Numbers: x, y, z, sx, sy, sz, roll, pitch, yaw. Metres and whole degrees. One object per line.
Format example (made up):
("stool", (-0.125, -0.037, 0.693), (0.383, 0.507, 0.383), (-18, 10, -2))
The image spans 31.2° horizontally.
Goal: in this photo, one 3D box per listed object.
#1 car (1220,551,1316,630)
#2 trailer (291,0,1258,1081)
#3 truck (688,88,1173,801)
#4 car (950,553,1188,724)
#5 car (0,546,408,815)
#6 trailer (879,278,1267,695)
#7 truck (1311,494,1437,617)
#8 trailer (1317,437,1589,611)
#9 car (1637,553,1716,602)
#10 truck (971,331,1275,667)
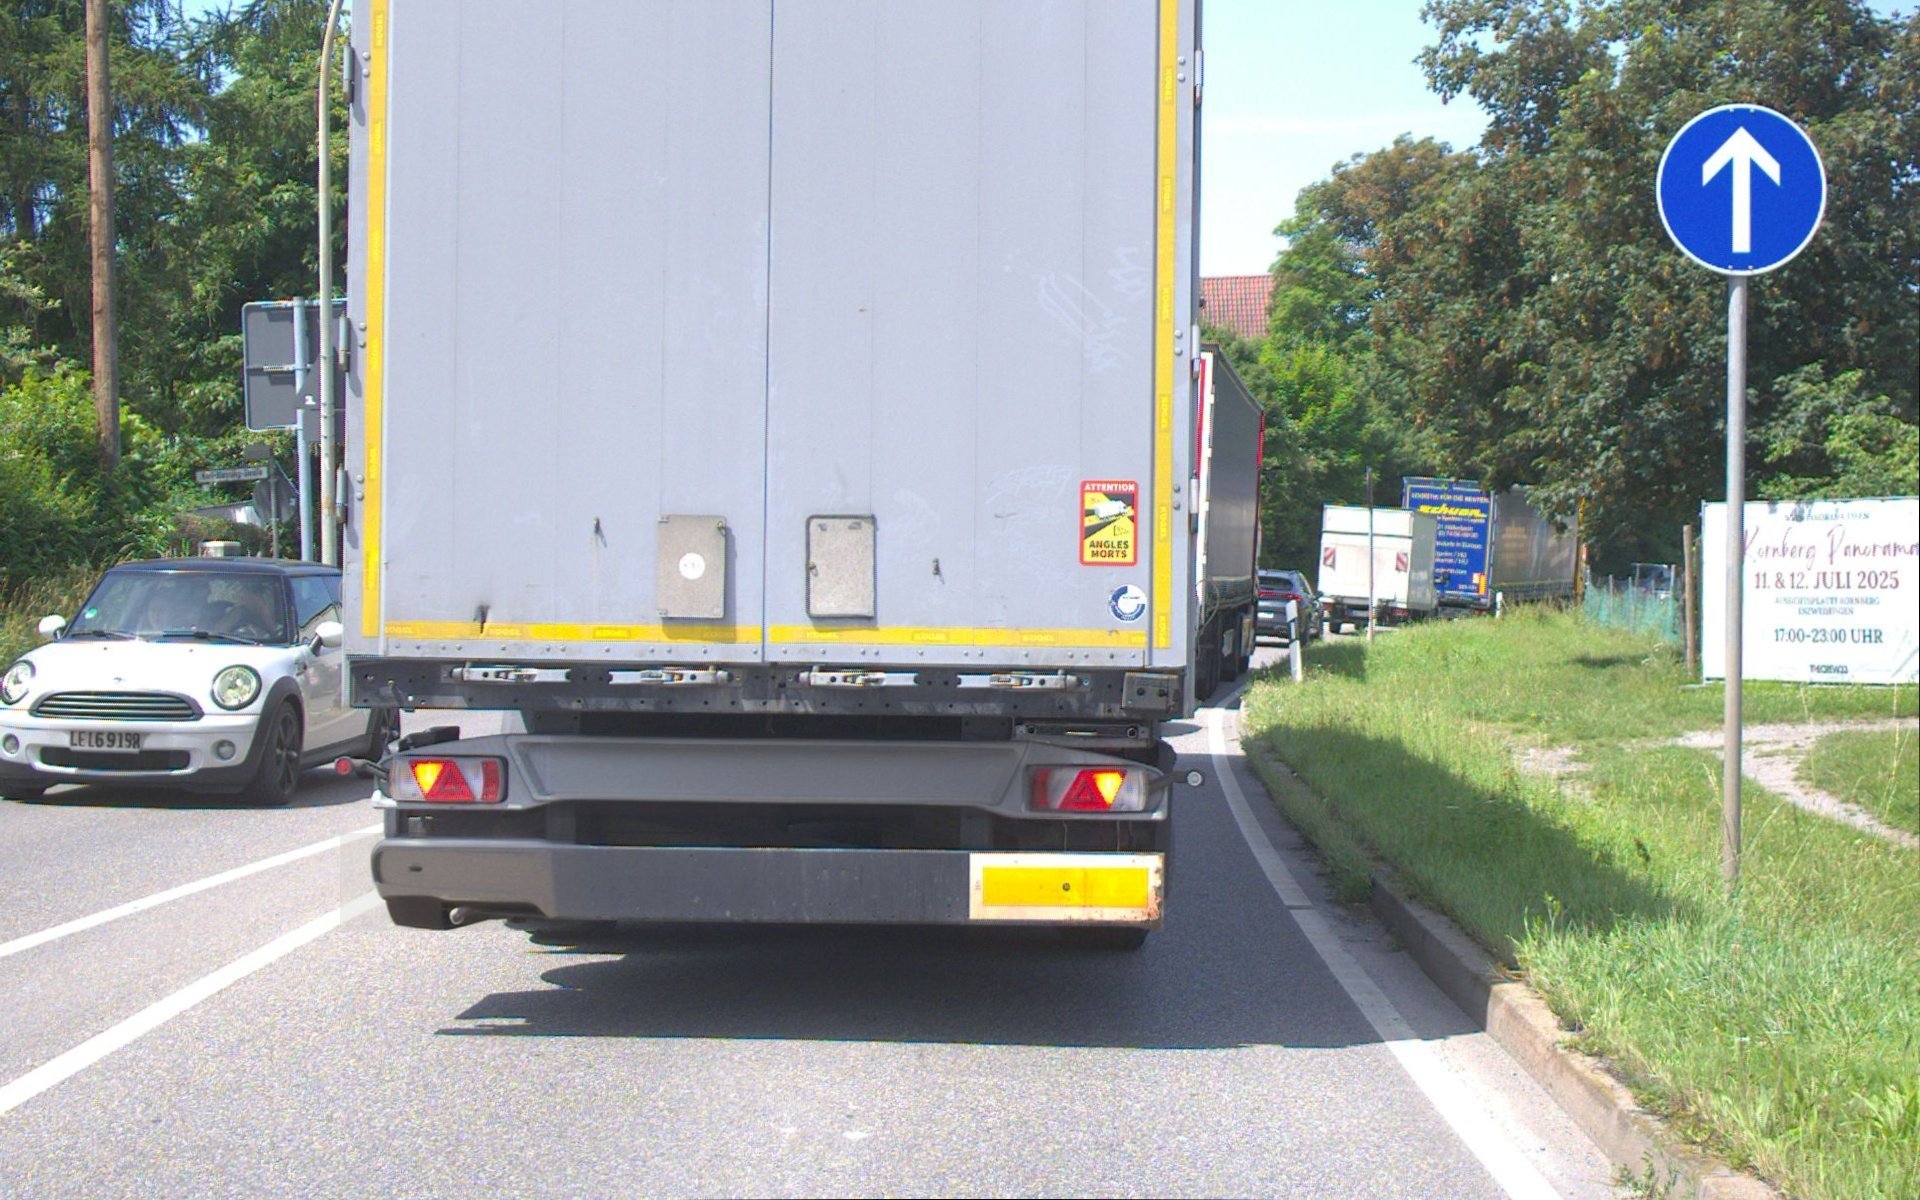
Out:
("car", (6.198, -0.211, 68.969), (1.841, 1.481, 3.999), (1, 1, 6))
("trailer", (-0.345, -0.868, 16.010), (2.787, 4.191, 12.111), (1, 1, 2))
("truck", (0.005, -0.994, 23.214), (2.746, 4.151, 6.142), (1, 1, 4))
("car", (1.134, 0.331, 33.810), (1.994, 1.525, 3.999), (1, 1, 7))
("car", (-4.543, 0.413, 20.681), (1.622, 1.377, 3.560), (2, 1, 3))
("trailer", (1.773, -1.323, 43.676), (3.892, 4.505, 12.710), (0, 1, 7))
("truck", (10.000, -1.099, 82.633), (2.422, 2.828, 5.409), (1, 1, 13))
("trailer", (14.535, -2.218, 99.500), (5.184, 4.612, 15.882), (1, 1, 18))
("car", (25.491, -0.809, 122.222), (1.996, 1.678, 3.995), (1, 1, 23))
("truck", (2.538, -1.430, 50.435), (3.938, 4.559, 7.150), (0, 1, 7))
